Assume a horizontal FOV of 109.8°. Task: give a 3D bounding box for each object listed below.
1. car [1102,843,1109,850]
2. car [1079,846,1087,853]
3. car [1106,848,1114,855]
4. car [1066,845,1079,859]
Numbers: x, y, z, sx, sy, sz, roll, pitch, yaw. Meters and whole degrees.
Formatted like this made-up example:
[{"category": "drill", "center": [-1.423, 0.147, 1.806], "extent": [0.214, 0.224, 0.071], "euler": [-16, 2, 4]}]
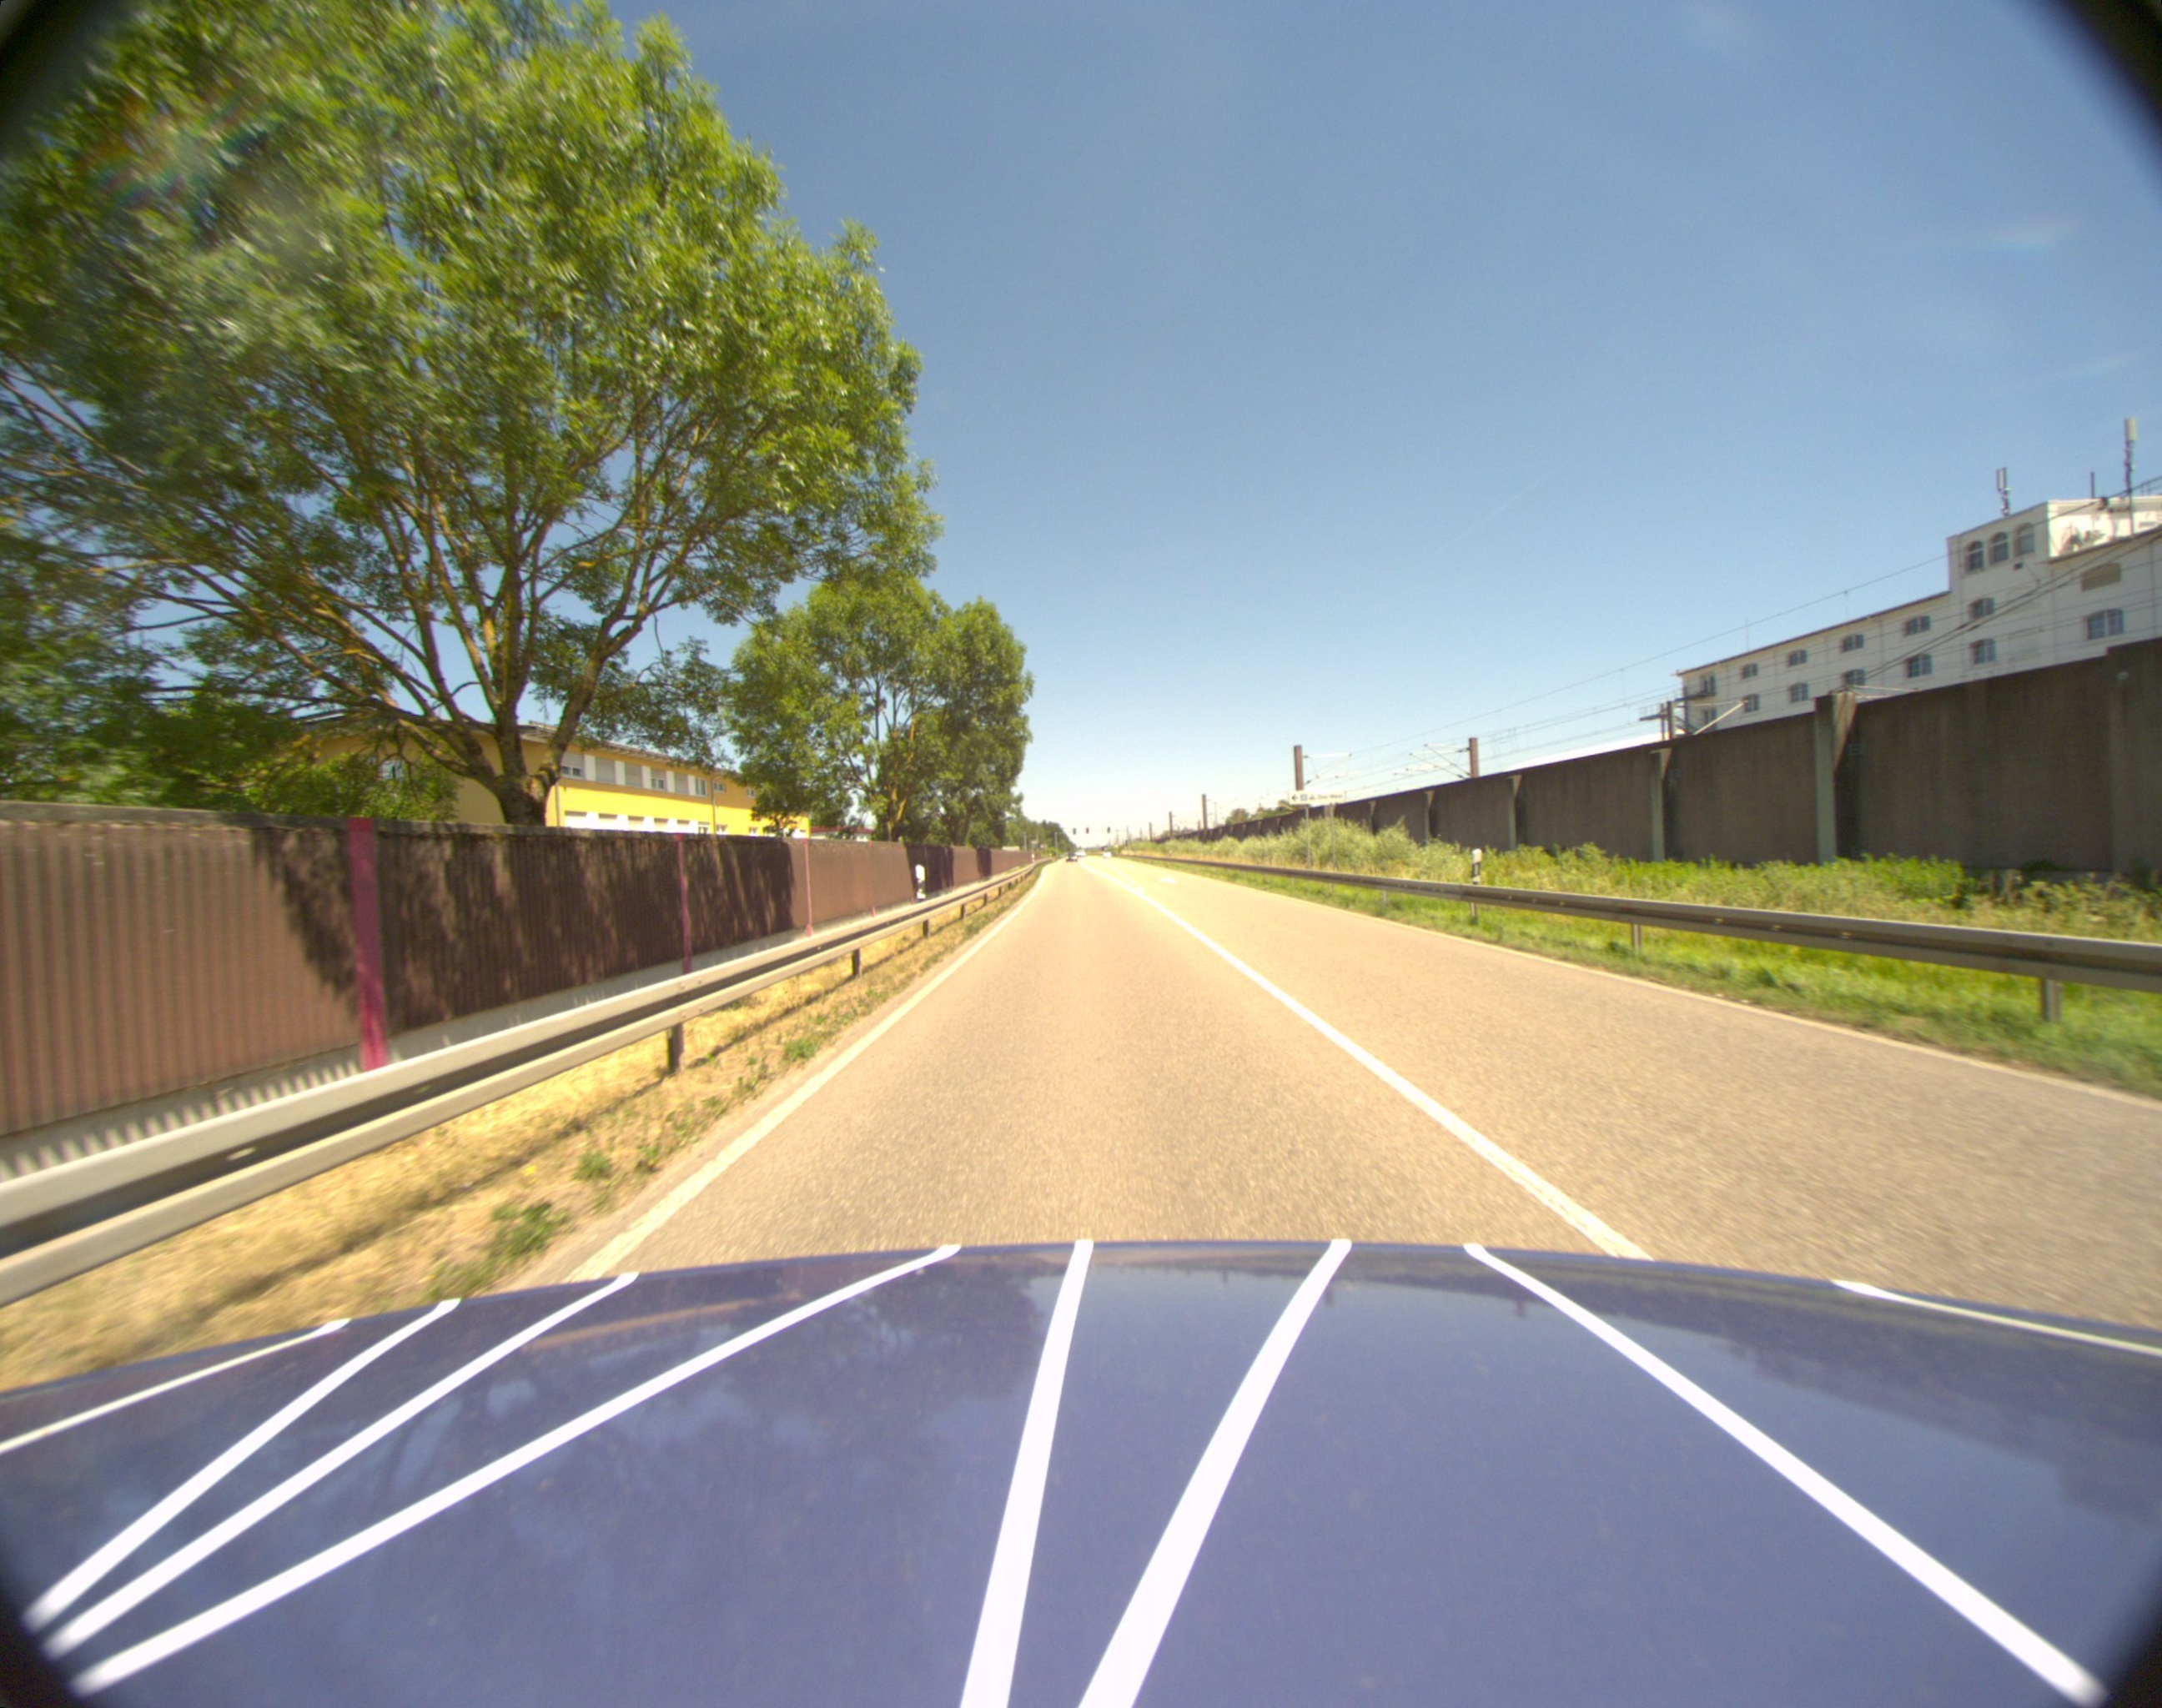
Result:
[{"category": "car", "center": [8.123, -2.504, 249.116], "extent": [1.999, 2.002, 3.999], "euler": [-2, 1, 0]}, {"category": "car", "center": [0.469, -1.287, 208.892], "extent": [1.999, 2.002, 3.999], "euler": [-1, 1, 0]}, {"category": "car", "center": [6.670, -0.604, 175.793], "extent": [1.600, 1.466, 3.773], "euler": [-2, 1, -1]}, {"category": "car", "center": [-1.388, -0.346, 119.048], "extent": [1.999, 2.002, 3.999], "euler": [-2, 1, -1]}]
